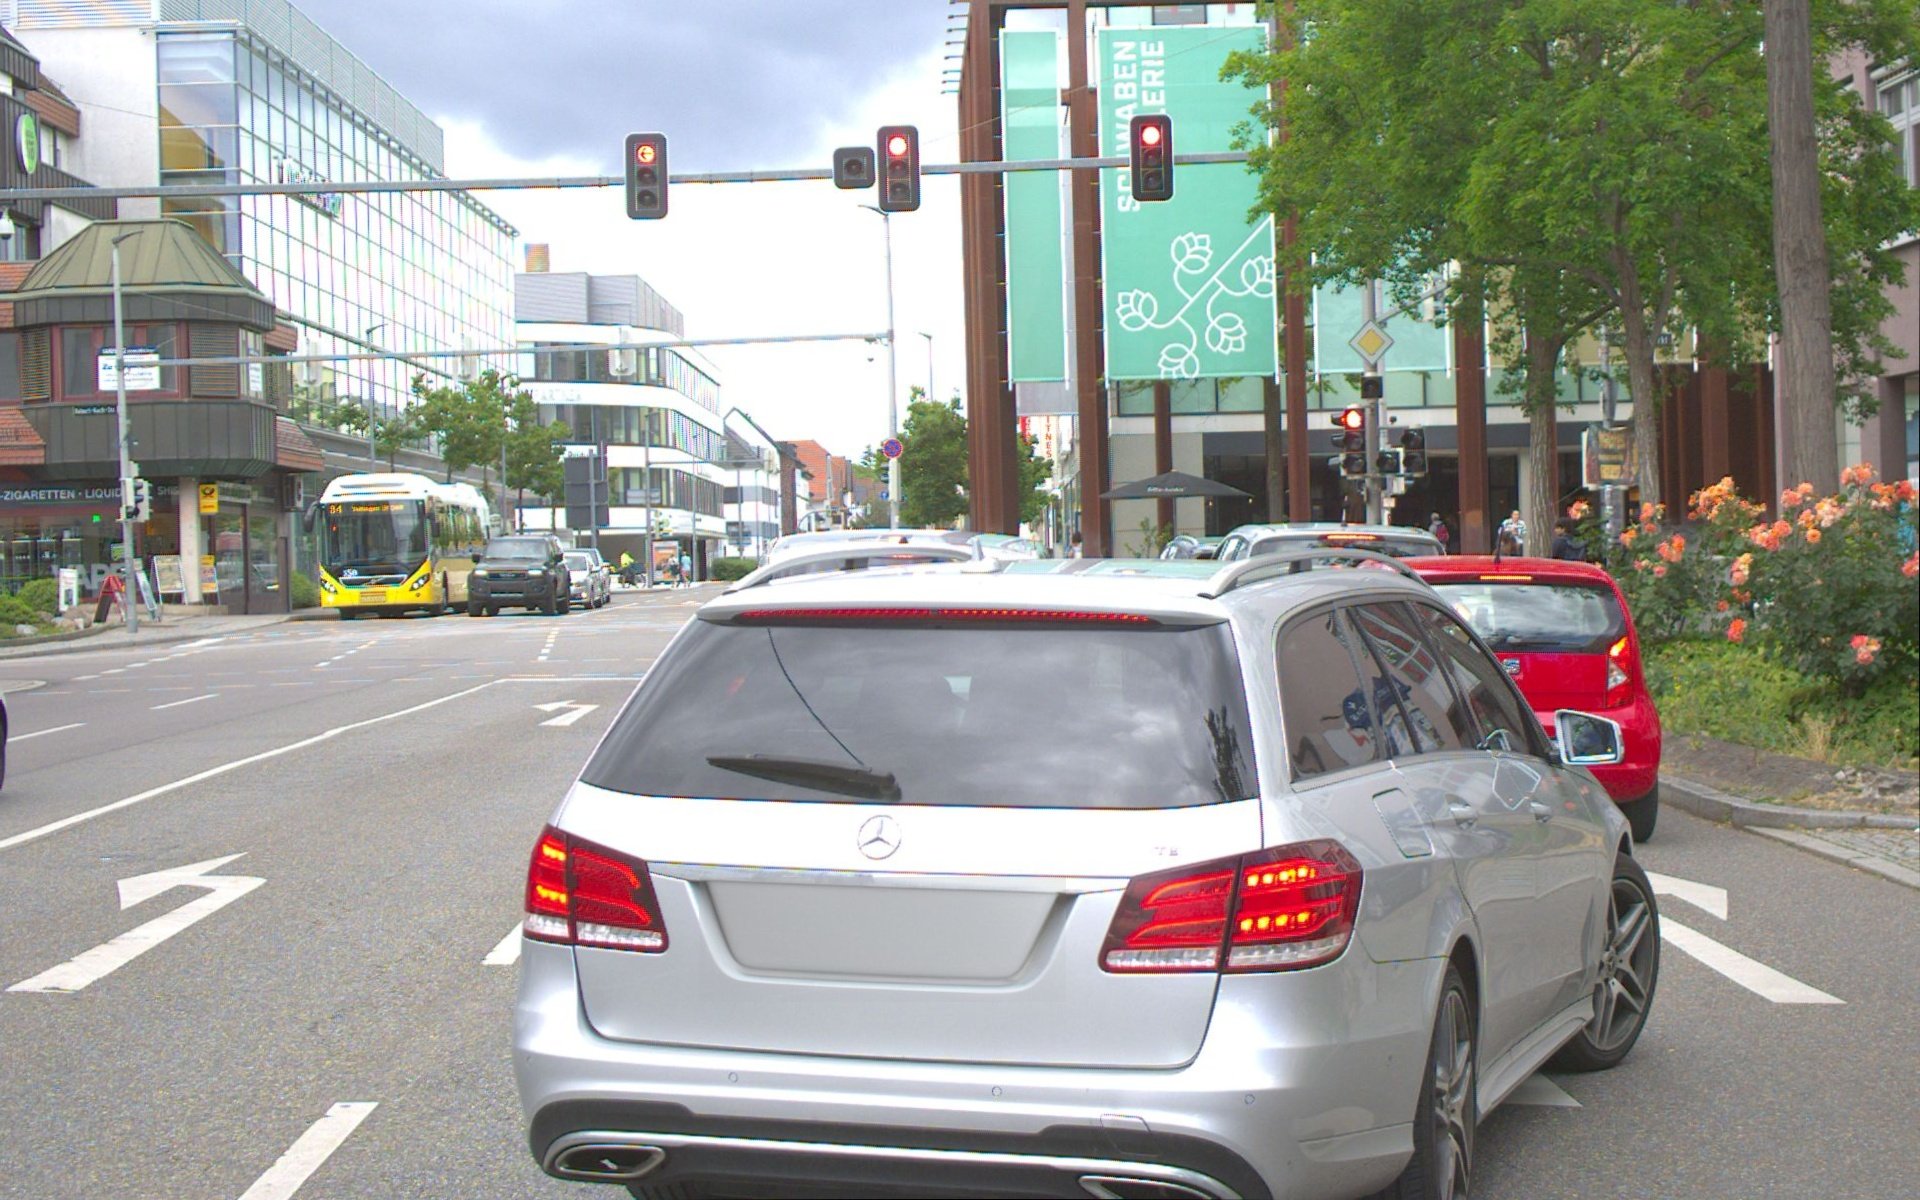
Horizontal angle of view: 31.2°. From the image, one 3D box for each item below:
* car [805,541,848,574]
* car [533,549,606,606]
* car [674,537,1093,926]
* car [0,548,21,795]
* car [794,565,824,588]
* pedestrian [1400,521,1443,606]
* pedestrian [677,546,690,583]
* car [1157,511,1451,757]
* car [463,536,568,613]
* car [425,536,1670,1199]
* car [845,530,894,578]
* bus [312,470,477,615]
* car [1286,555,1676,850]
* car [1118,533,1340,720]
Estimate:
[{"bbox_3d":[-6.369,-2.050,164.295,1.801,1.535,4.065,-1,1,1],"label":"car"},{"bbox_3d":[-9.852,-0.589,86.914,1.555,1.387,3.288,-1,1,-2],"label":"car"},{"bbox_3d":[-0.318,0.487,15.173,1.640,1.522,3.394,0,1,-1],"label":"car"},{"bbox_3d":[-6.535,0.480,19.337,1.574,1.483,3.464,-2,1,-1],"label":"car"},{"bbox_3d":[-10.440,-1.640,237.708,1.801,1.535,4.065,-1,1,1],"label":"car"},{"bbox_3d":[9.045,-0.713,67.372,0.651,1.645,0.559,-1,1,-15],"label":"pedestrian"},{"bbox_3d":[-13.188,-1.684,163.879,0.519,1.728,0.489,-1,1,8],"label":"pedestrian"},{"bbox_3d":[2.418,0.193,24.962,1.586,1.628,3.917,1,1,-2],"label":"car"},{"bbox_3d":[-10.246,-0.613,79.526,1.993,1.700,4.065,-1,1,-2],"label":"car"},{"bbox_3d":[0.532,0.600,8.355,1.817,1.443,4.365,1,1,18],"label":"car"},{"bbox_3d":[-3.781,-1.931,144.142,1.993,1.942,4.951,-1,1,-2],"label":"car"},{"bbox_3d":[-13.391,-1.383,82.080,2.686,3.250,8.654,-1,1,-2],"label":"bus"},{"bbox_3d":[2.765,0.492,18.865,1.586,1.438,3.348,1,1,0],"label":"car"},{"bbox_3d":[2.409,0.197,31.573,1.586,1.589,3.868,1,1,-2],"label":"car"}]
